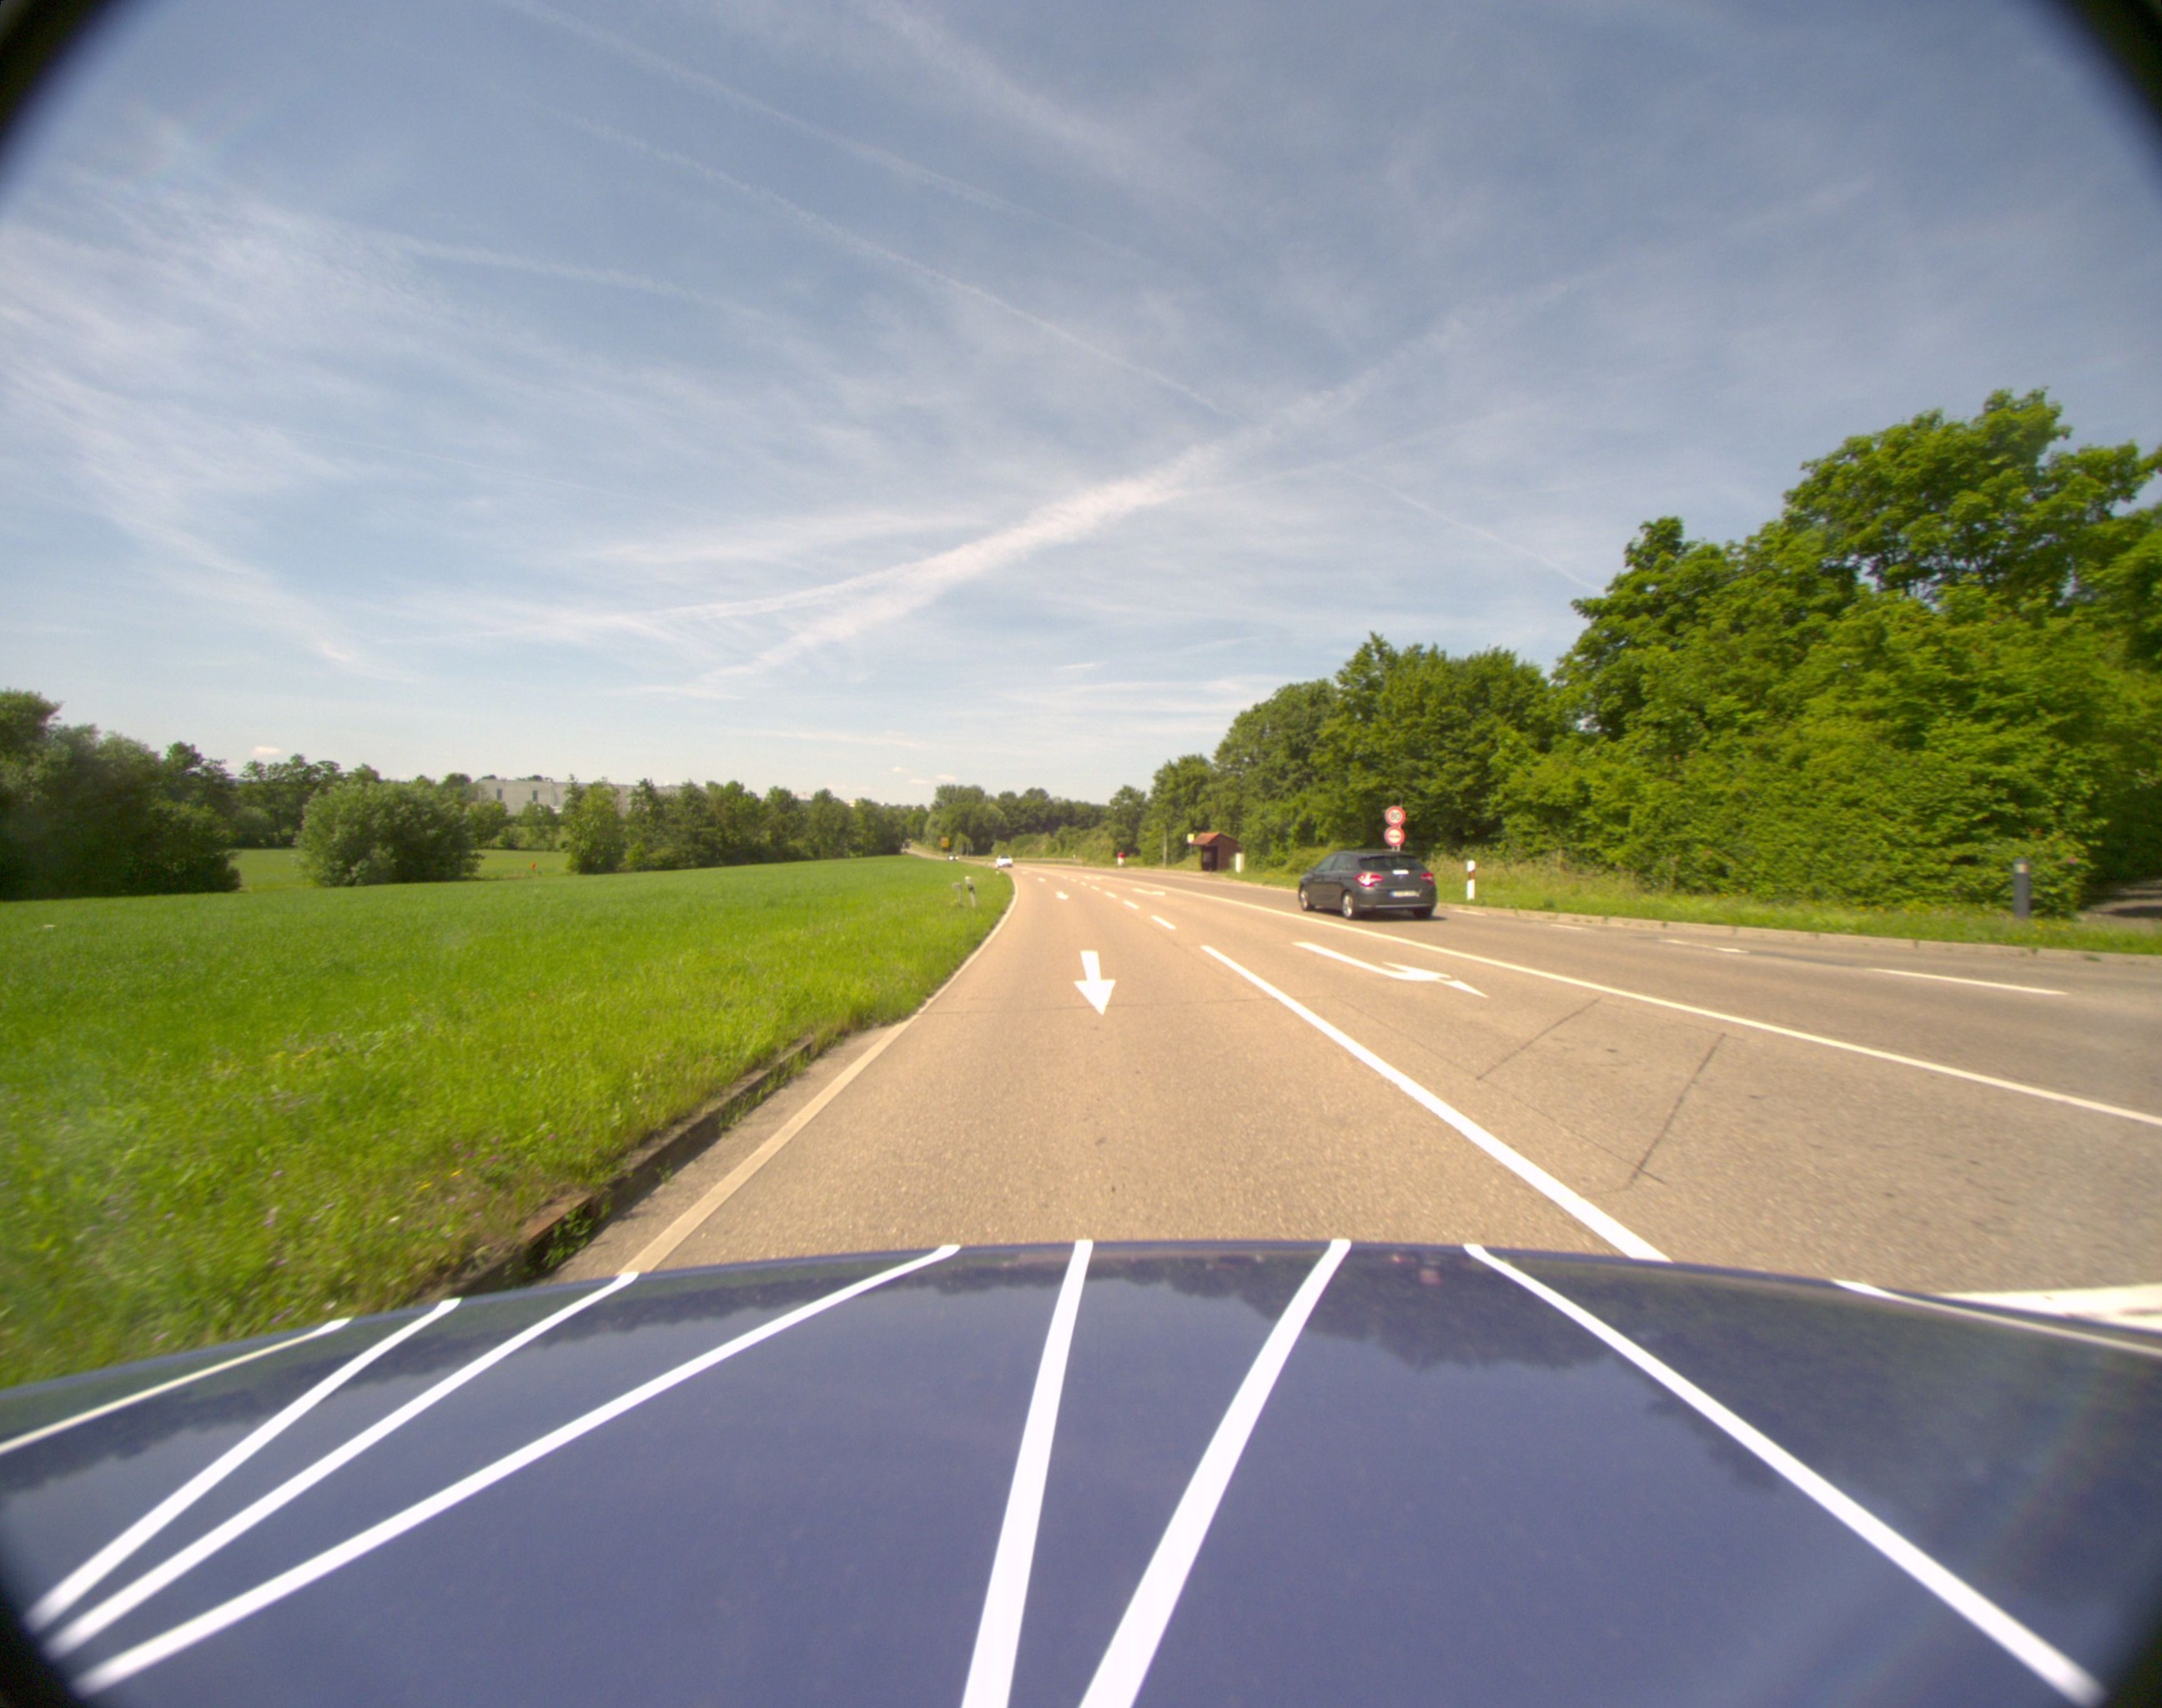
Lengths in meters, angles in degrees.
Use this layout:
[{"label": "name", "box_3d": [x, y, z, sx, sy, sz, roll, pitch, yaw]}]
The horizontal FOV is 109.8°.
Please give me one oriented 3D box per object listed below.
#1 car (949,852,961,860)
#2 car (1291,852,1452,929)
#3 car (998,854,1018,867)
[{"label": "car", "box_3d": [-26.678, 0.381, 160.553, 2.001, 1.576, 3.993, -2, 1, -18]}, {"label": "car", "box_3d": [6.314, 0.716, 17.115, 1.796, 1.465, 4.309, -1, 0, -3]}, {"label": "car", "box_3d": [-9.272, 0.799, 95.823, 2.001, 1.576, 3.995, -1, 0, -13]}]
